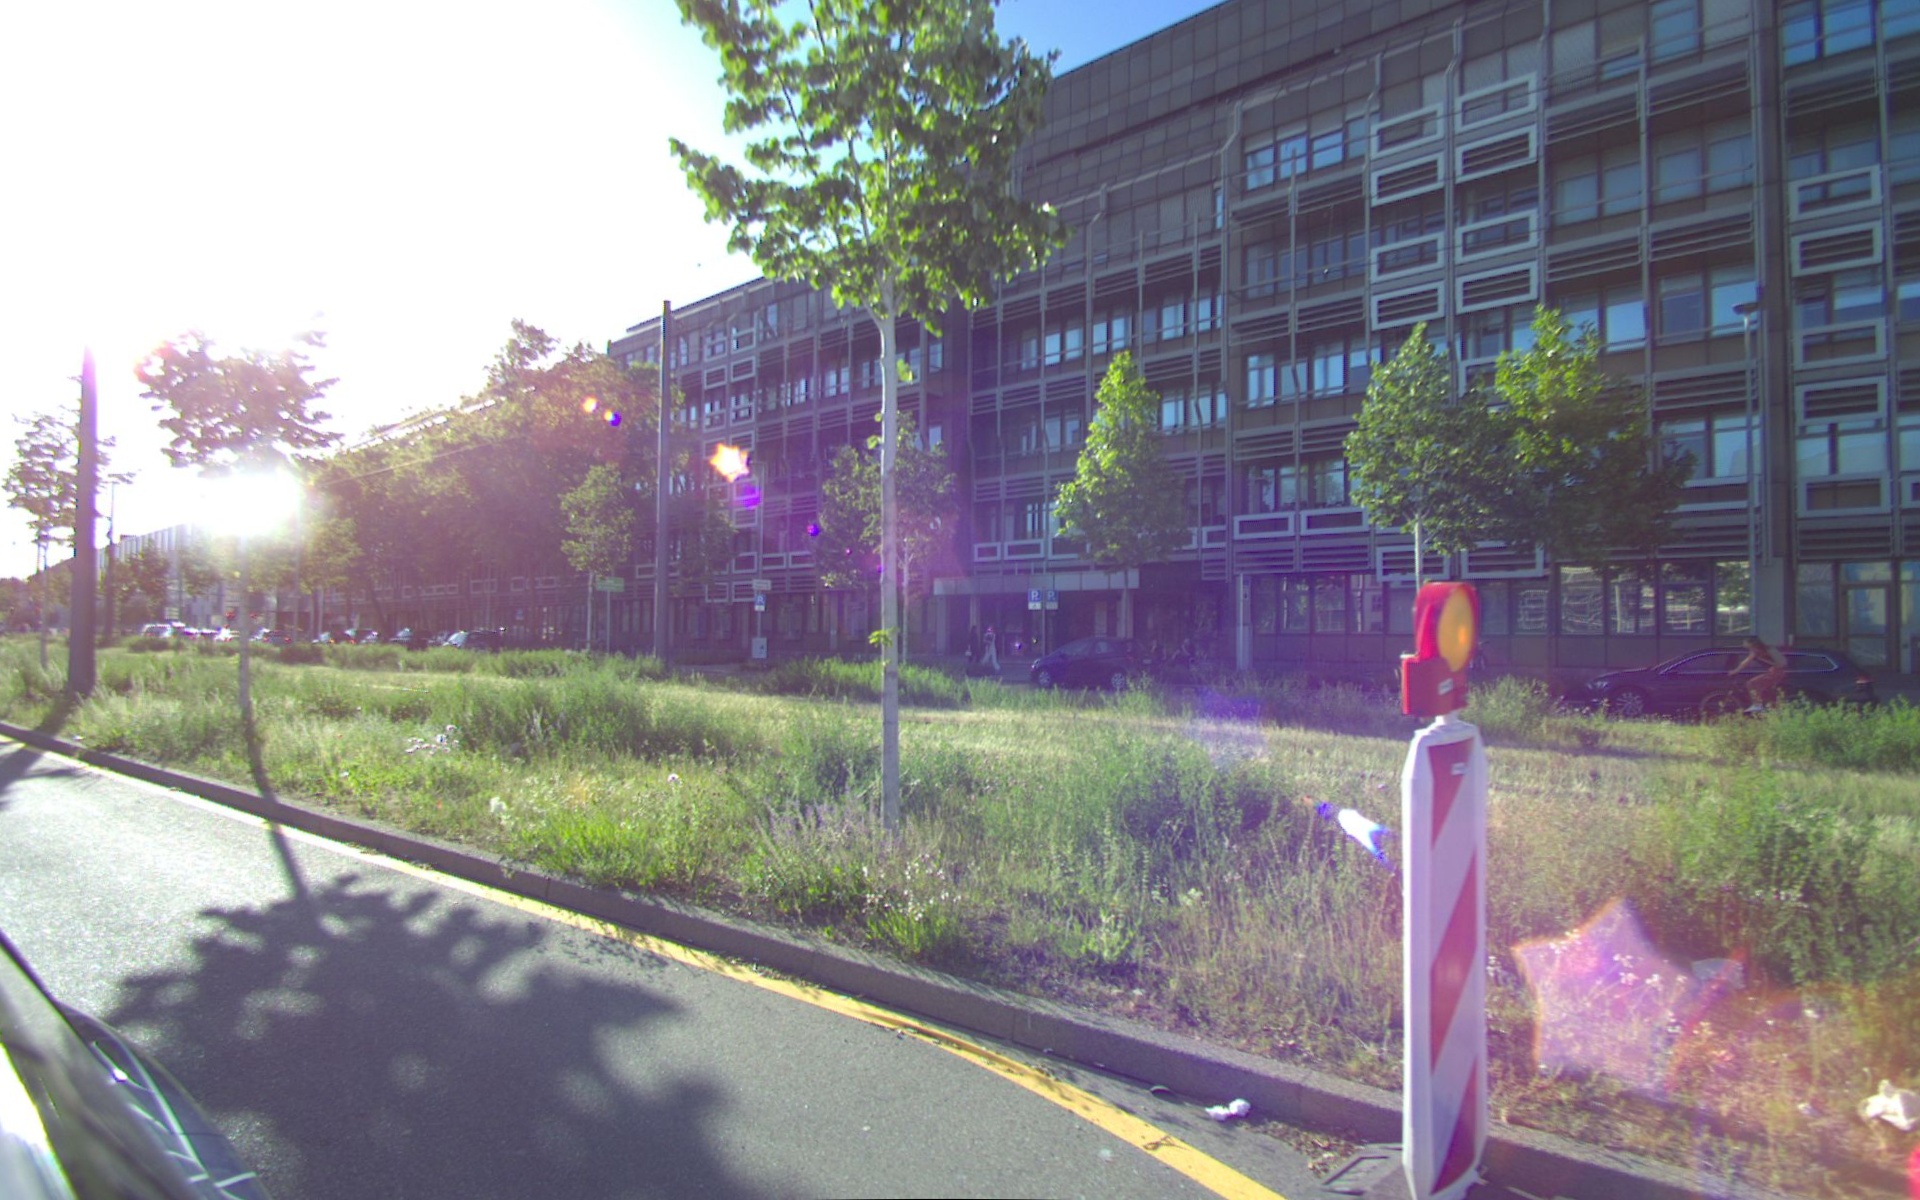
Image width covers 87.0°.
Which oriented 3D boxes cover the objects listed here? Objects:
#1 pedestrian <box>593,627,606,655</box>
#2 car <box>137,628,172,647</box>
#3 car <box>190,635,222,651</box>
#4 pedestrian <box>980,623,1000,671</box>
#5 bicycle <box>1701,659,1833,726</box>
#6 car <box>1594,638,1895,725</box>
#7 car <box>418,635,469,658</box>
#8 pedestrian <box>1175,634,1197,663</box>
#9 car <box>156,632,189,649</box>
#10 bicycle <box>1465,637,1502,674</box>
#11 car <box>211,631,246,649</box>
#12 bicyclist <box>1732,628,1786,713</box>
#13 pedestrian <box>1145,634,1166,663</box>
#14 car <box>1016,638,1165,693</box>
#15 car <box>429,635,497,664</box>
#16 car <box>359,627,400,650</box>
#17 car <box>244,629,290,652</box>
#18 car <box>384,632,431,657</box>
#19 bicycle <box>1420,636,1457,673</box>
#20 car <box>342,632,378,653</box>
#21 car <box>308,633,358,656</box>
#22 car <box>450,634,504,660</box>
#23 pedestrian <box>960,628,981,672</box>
[{"bbox_3d":[-23.037,2.614,64.714,0.638,1.763,0.477,-2,-3,41],"label":"pedestrian"},{"bbox_3d":[-74.223,3.469,93.250,3.778,1.694,1.841,-2,-3,41],"label":"car"},{"bbox_3d":[-69.307,3.940,93.006,3.778,1.390,1.535,-2,-3,42],"label":"car"},{"bbox_3d":[1.126,1.743,37.582,0.536,1.735,0.515,-2,-3,43],"label":"pedestrian"},{"bbox_3d":[14.265,1.610,17.938,1.769,1.105,0.559,-2,-4,39],"label":"bicycle"},{"bbox_3d":[15.262,1.519,19.971,4.498,1.480,1.712,-2,-1,39],"label":"car"},{"bbox_3d":[-34.673,3.123,67.912,3.627,1.497,1.705,-2,-3,39],"label":"car"},{"bbox_3d":[7.865,1.699,35.187,0.498,0.993,0.610,-2,-3,42],"label":"pedestrian"},{"bbox_3d":[-67.183,3.444,86.324,3.778,1.390,1.535,-2,-3,42],"label":"car"},{"bbox_3d":[15.377,1.624,29.728,0.425,1.080,1.907,-2,-4,44],"label":"bicycle"},{"bbox_3d":[-62.256,3.365,86.107,3.778,1.507,1.610,-2,-3,42],"label":"car"},{"bbox_3d":[14.211,1.240,18.006,0.705,1.468,0.559,-2,-4,38],"label":"bicyclist"},{"bbox_3d":[6.942,1.711,35.902,0.498,0.993,0.610,-2,-3,42],"label":"pedestrian"},{"bbox_3d":[3.766,1.864,29.610,4.036,1.397,1.699,-2,0,40],"label":"car"},{"bbox_3d":[-25.230,2.509,51.364,4.038,1.398,1.698,-2,-4,42],"label":"car"},{"bbox_3d":[-43.125,2.837,75.113,3.523,1.614,1.492,-2,-1,39],"label":"car"},{"bbox_3d":[-45.937,2.678,67.041,3.778,1.507,1.610,-2,-3,42],"label":"car"},{"bbox_3d":[-39.027,3.119,71.477,3.628,1.614,1.705,-2,-1,39],"label":"car"},{"bbox_3d":[14.438,1.636,30.508,0.425,1.080,1.853,-2,-4,44],"label":"bicycle"},{"bbox_3d":[-46.759,3.301,78.843,3.263,1.614,1.373,-2,-1,39],"label":"car"},{"bbox_3d":[-42.164,2.957,68.010,4.415,1.507,1.610,-2,-3,42],"label":"car"},{"bbox_3d":[-30.504,2.928,63.894,3.628,1.555,1.705,-2,-1,39],"label":"car"},{"bbox_3d":[0.389,1.839,37.130,0.536,1.590,0.515,-2,-3,43],"label":"pedestrian"}]
